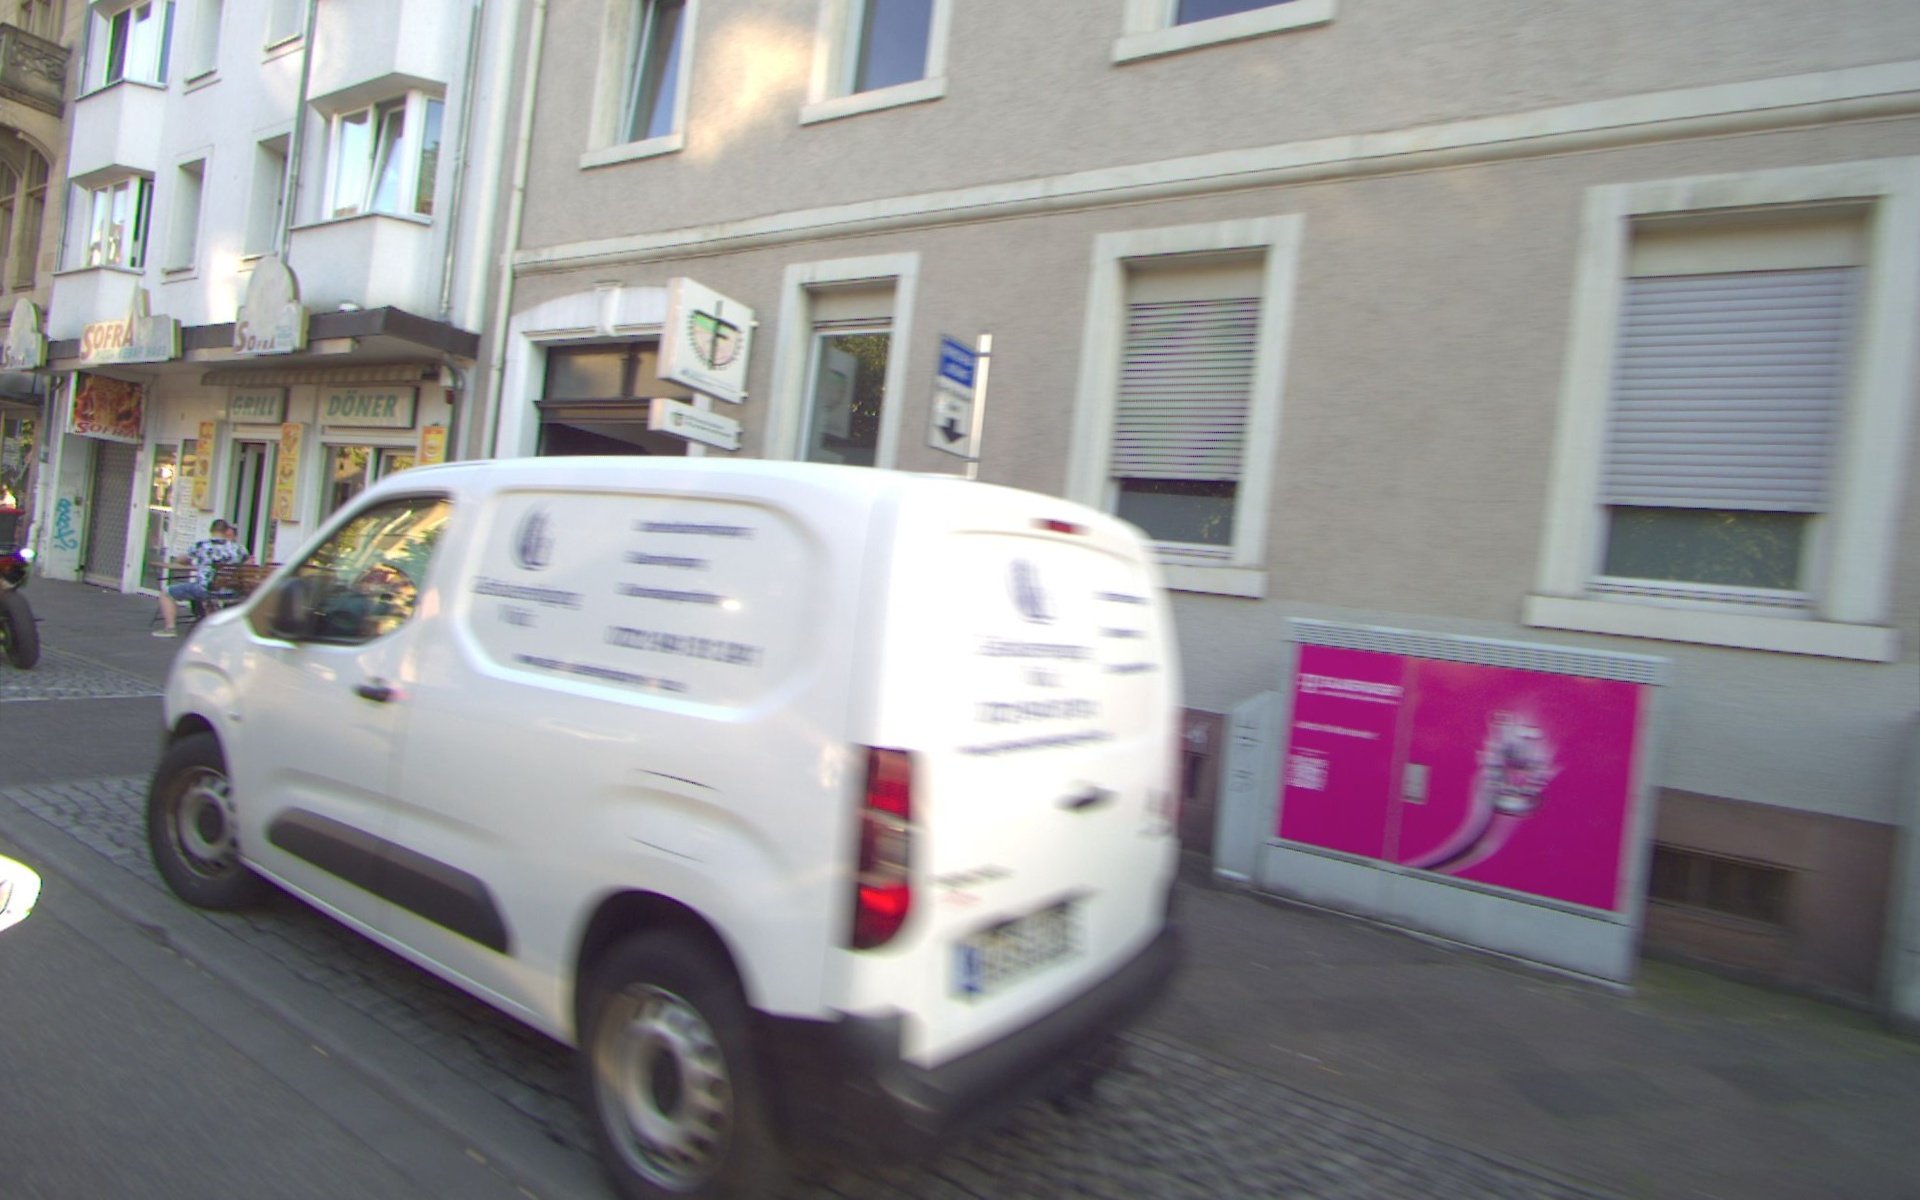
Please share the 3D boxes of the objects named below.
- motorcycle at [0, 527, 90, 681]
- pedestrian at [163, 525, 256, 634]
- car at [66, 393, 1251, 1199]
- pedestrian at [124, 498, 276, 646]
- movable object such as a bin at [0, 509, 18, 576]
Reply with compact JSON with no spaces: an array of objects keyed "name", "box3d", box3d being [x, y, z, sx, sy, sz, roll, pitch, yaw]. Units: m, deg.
[{"name":"motorcycle","box3d":[-8.364,-0.033,8.674,2.173,1.137,0.589,7,0,32]},{"name":"pedestrian","box3d":[-9.307,-0.264,12.508,0.734,1.236,0.785,5,3,-28]},{"name":"car","box3d":[-1.375,0.399,3.745,4.235,1.856,1.712,7,-1,33]},{"name":"pedestrian","box3d":[-8.704,-0.308,11.541,0.976,1.504,0.957,7,-1,31]},{"name":"movable object such as a bin","box3d":[-16.660,-1.023,17.176,0.653,1.097,0.596,7,-1,33]}]
